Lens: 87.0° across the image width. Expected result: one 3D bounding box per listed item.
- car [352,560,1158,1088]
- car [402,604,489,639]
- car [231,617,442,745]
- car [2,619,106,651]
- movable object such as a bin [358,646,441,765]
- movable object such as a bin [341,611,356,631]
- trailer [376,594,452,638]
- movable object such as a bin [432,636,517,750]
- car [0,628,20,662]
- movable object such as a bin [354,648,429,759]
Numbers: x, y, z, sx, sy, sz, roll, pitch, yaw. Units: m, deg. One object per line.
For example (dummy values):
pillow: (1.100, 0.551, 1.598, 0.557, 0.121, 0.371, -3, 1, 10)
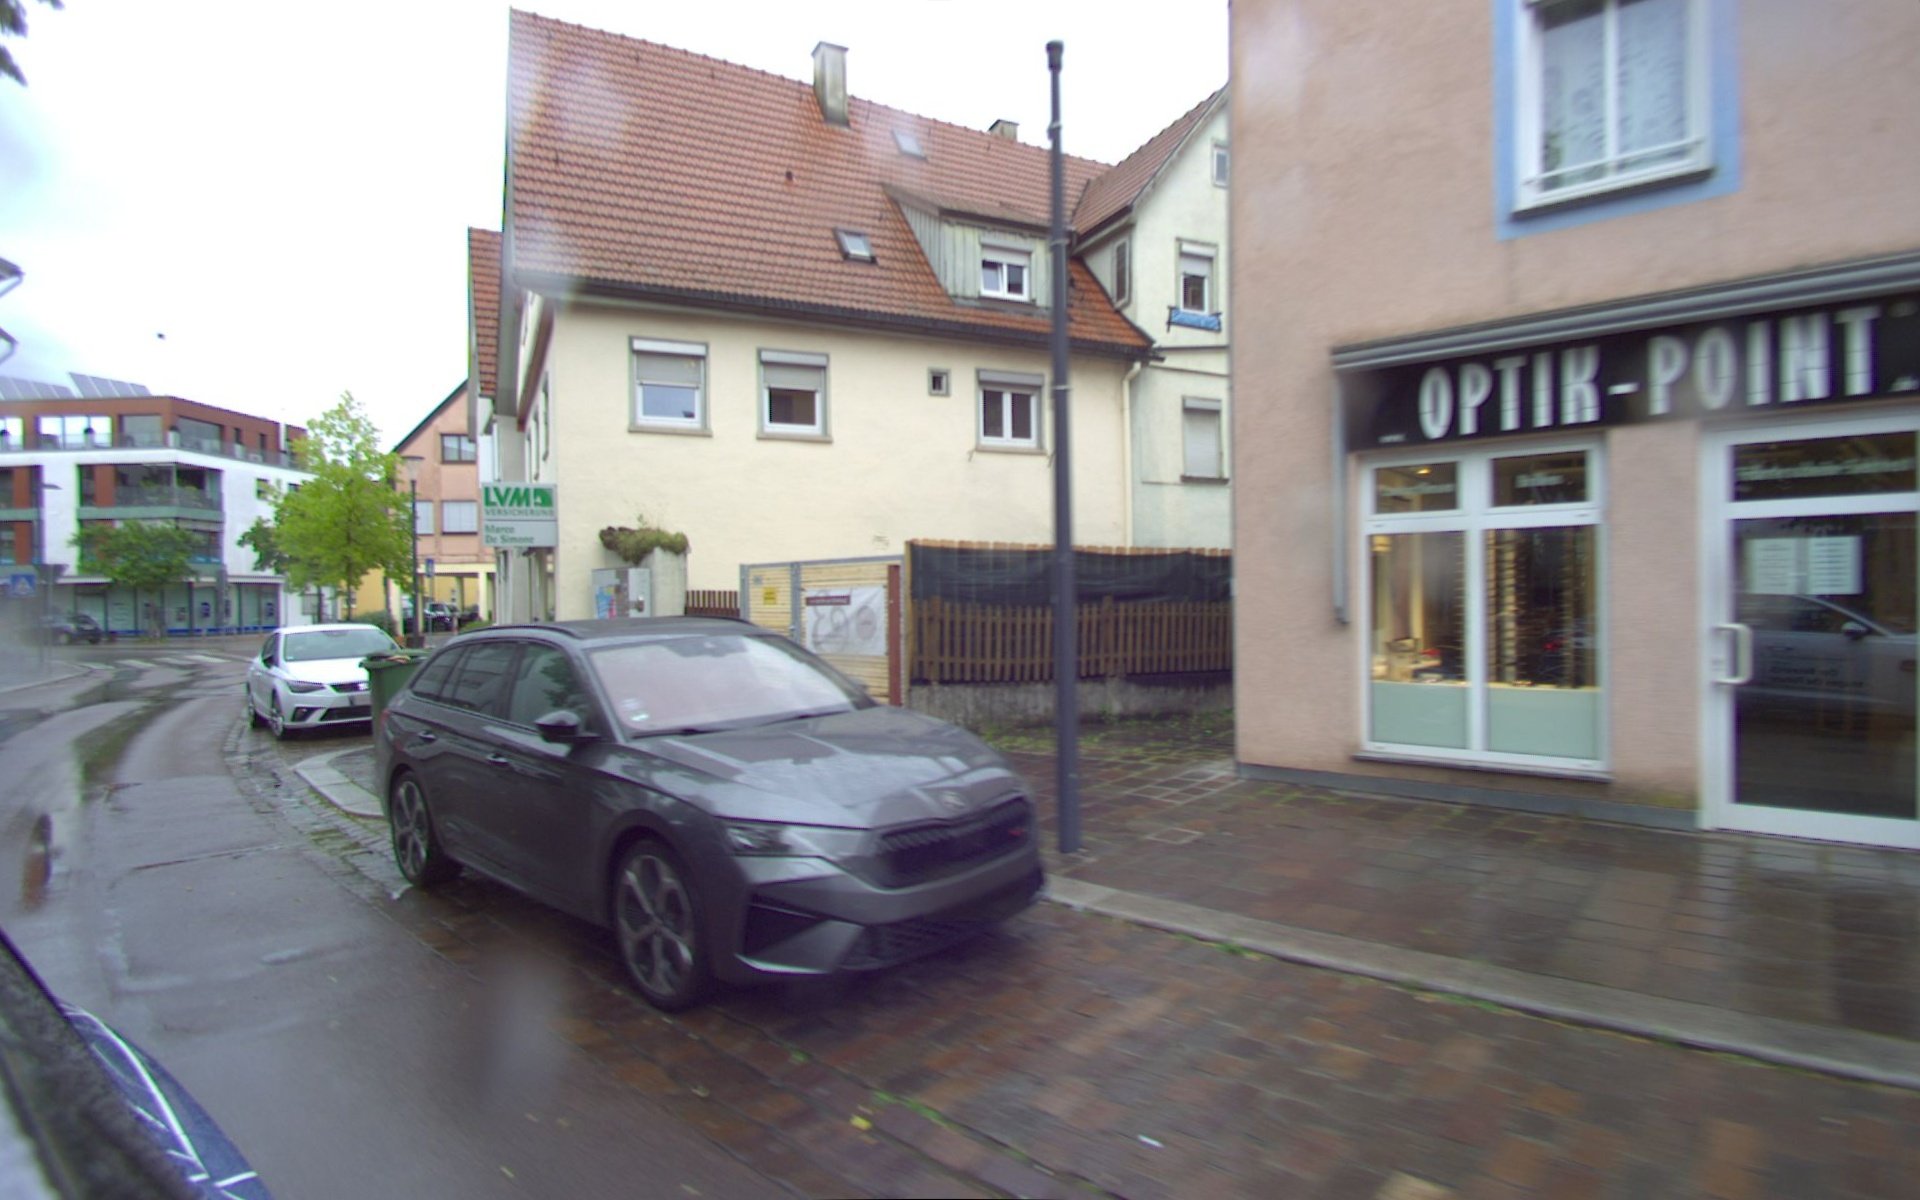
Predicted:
car: (-1.392, 0.730, 5.189, 4.400, 1.552, 1.855, -3, -2, 43)
car: (-28.997, 1.207, 57.159, 3.938, 1.684, 1.839, -4, -1, -6)
car: (-8.815, 1.041, 14.150, 1.826, 1.463, 4.078, -1, -1, -42)
car: (-43.253, 1.657, 48.347, 3.538, 1.446, 1.679, 0, 1, 3)
movable object such as a bin: (-5.908, 1.082, 10.657, 0.690, 1.152, 0.721, -1, -1, -34)
movable object such as a bin: (-38.659, 1.345, 63.967, 0.623, 1.242, 0.523, 0, 1, 4)
trailer: (-29.151, 0.852, 54.077, 3.045, 2.103, 1.839, -4, -1, -6)
movable object such as a bin: (-5.387, 1.009, 11.224, 0.690, 1.130, 0.721, -4, 3, -34)
car: (-48.041, 2.195, 48.777, 3.868, 1.566, 1.803, 0, 1, 2)
movable object such as a bin: (-6.373, 1.130, 11.336, 0.673, 1.144, 0.721, -1, 0, -34)
